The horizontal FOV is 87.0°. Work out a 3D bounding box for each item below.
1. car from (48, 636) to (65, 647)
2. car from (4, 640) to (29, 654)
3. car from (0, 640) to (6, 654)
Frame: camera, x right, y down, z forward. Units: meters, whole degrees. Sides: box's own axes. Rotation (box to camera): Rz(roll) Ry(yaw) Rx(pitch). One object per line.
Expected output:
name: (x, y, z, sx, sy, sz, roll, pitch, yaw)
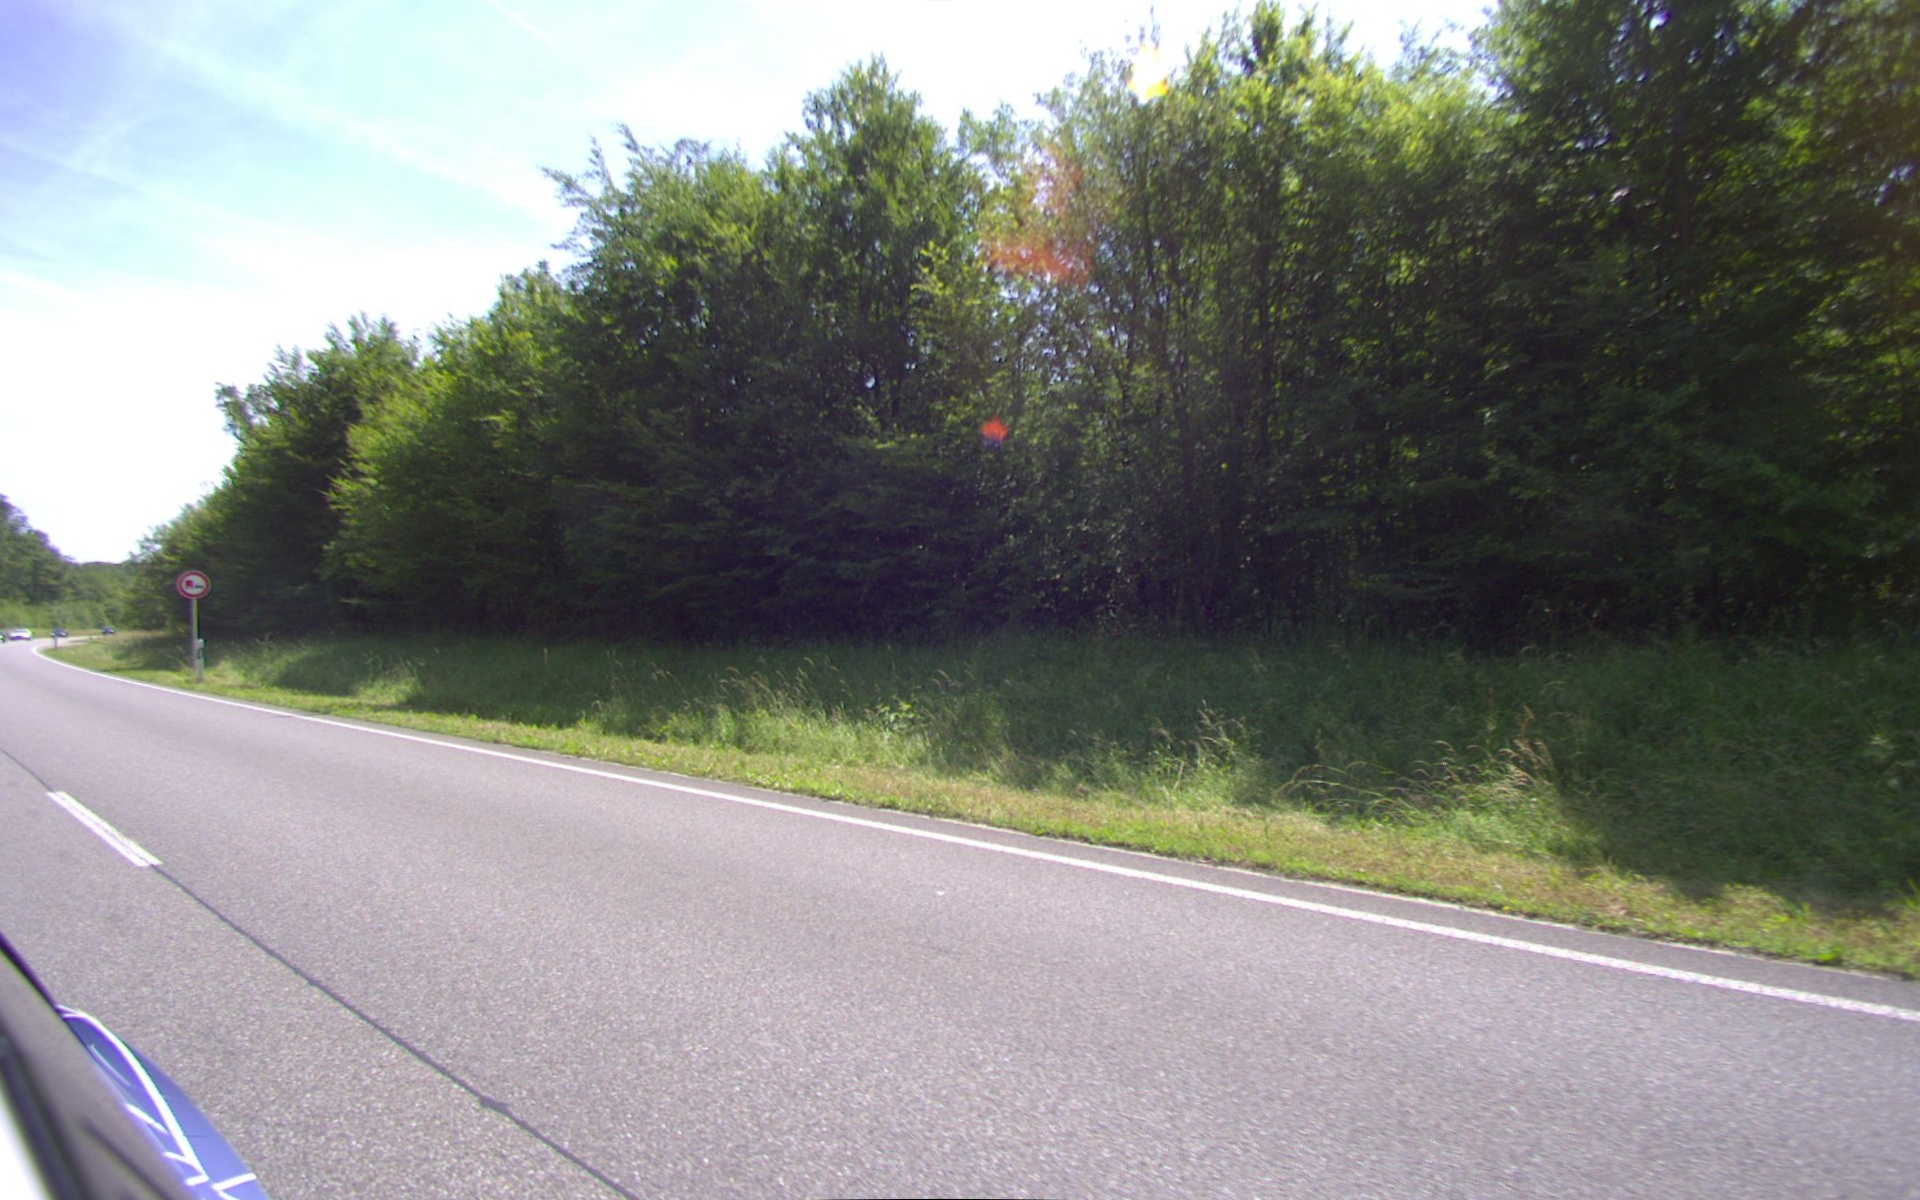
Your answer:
car: (-143.154, 6.578, 160.322, 1.666, 1.741, 4.008, 1, -2, -38)
car: (-122.853, 6.084, 131.826, 1.988, 1.761, 4.389, 1, -2, -38)
car: (-105.984, 5.199, 110.974, 1.749, 1.474, 4.006, 1, -2, -40)
